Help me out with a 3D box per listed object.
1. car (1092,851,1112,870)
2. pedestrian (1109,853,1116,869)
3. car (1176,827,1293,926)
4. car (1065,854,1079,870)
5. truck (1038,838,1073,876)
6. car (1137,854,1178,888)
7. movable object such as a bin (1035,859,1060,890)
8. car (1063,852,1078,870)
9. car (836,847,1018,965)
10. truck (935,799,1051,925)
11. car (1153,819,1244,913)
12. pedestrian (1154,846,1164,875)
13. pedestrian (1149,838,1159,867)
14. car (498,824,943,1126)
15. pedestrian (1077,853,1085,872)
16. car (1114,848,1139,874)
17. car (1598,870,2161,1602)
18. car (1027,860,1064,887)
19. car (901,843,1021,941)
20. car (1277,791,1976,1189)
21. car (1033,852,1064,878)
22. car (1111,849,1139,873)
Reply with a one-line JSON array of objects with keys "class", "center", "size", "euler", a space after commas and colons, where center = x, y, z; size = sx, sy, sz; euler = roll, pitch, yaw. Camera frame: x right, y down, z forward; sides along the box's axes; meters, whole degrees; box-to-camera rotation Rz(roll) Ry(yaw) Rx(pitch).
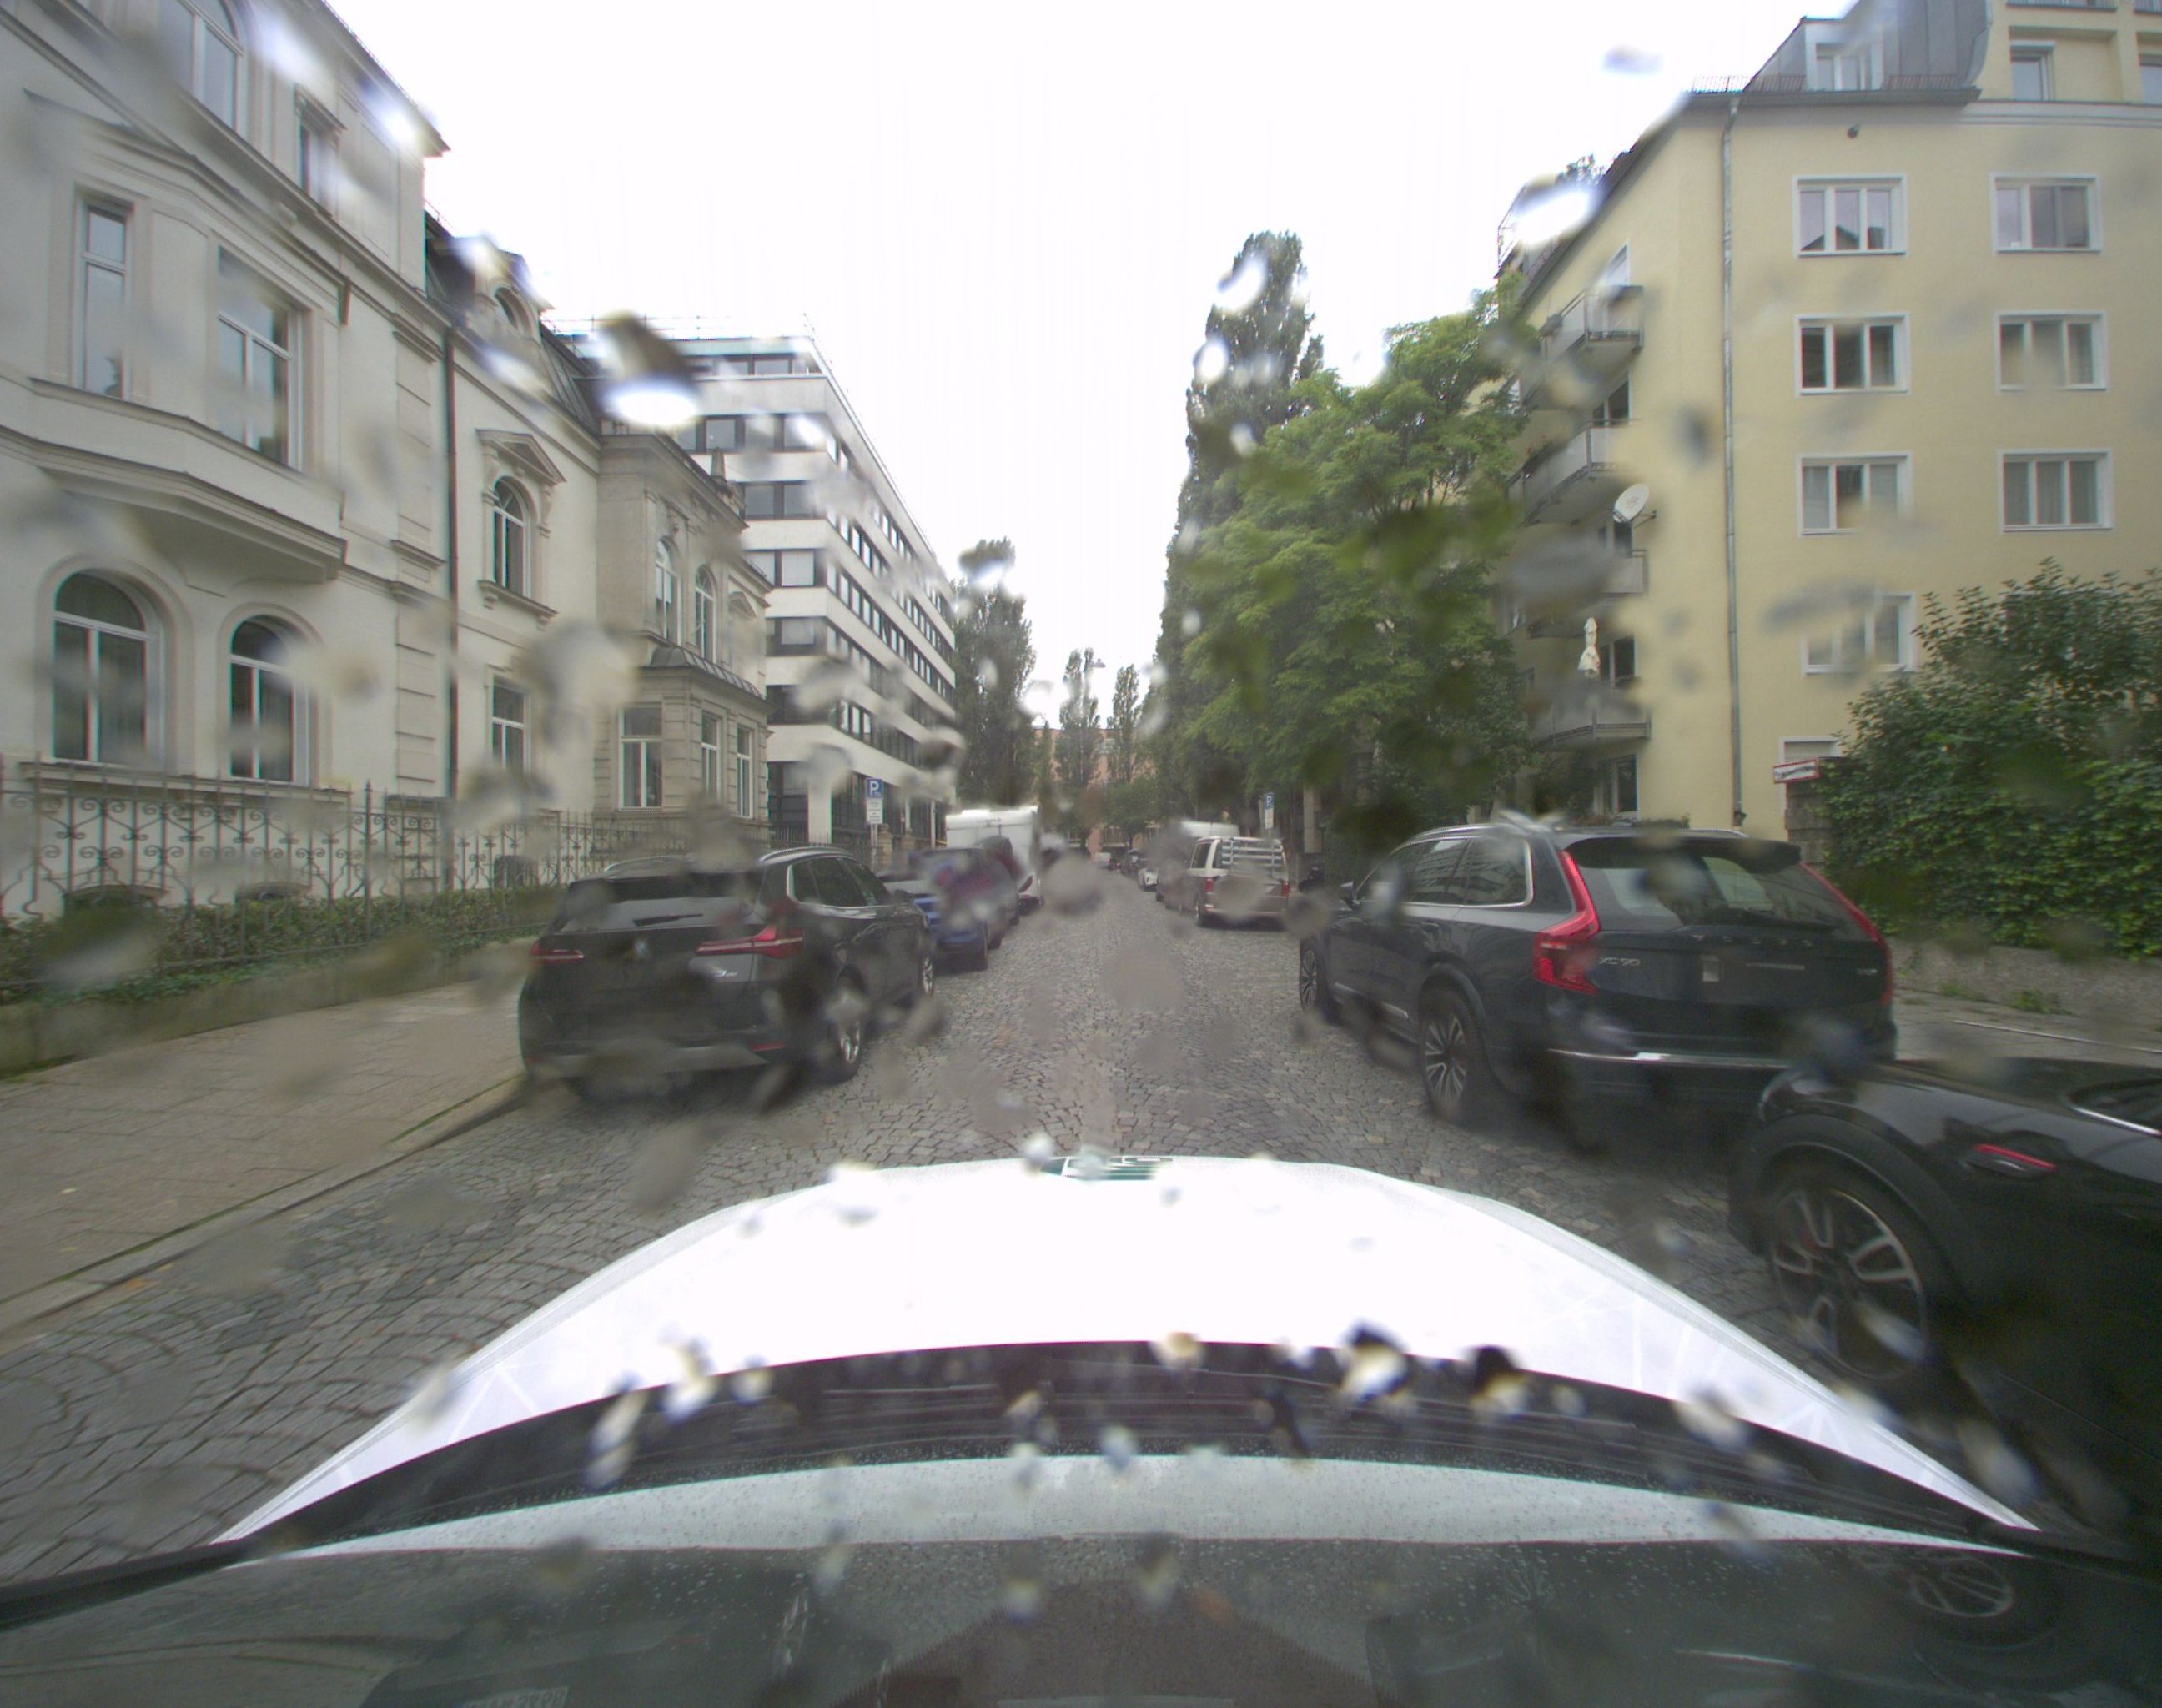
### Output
[{"class": "car", "center": [2.222, 0.725, 85.502], "size": [1.988, 1.936, 4.002], "euler": [-1, -1, 2]}, {"class": "pedestrian", "center": [3.138, 0.711, 81.951], "size": [0.684, 1.687, 0.501], "euler": [0, -1, 4]}, {"class": "car", "center": [3.412, 0.472, 19.019], "size": [1.794, 1.949, 4.860], "euler": [2, 0, 0]}, {"class": "car", "center": [-0.858, 0.758, 77.857], "size": [1.272, 1.541, 3.119], "euler": [0, -1, 1]}, {"class": "truck", "center": [-1.596, 0.189, 52.504], "size": [1.986, 2.347, 4.068], "euler": [0, -1, 1]}, {"class": "car", "center": [3.472, 0.747, 37.305], "size": [1.594, 1.486, 3.479], "euler": [0, -1, 0]}, {"class": "movable object such as a bin", "center": [-1.525, 0.925, 37.128], "size": [1.060, 1.363, 1.290], "euler": [0, -1, 1]}, {"class": "car", "center": [-0.933, 0.631, 73.046], "size": [1.286, 1.540, 3.119], "euler": [0, -1, 1]}, {"class": "car", "center": [-2.086, 0.666, 12.231], "size": [1.934, 1.459, 4.057], "euler": [0, -1, 0]}, {"class": "truck", "center": [-2.311, 0.180, 23.440], "size": [2.500, 3.031, 6.384], "euler": [-3, 0, 0]}, {"class": "car", "center": [3.414, 0.306, 24.737], "size": [1.889, 2.426, 5.611], "euler": [3, 0, 0]}, {"class": "pedestrian", "center": [5.909, 0.497, 61.428], "size": [0.709, 2.191, 0.813], "euler": [0, -1, 2]}, {"class": "pedestrian", "center": [6.404, -0.131, 71.443], "size": [0.709, 2.425, 0.814], "euler": [-3, 1, 2]}, {"class": "car", "center": [-2.435, 0.706, 6.870], "size": [1.768, 1.718, 4.390], "euler": [0, -1, 0]}, {"class": "pedestrian", "center": [0.028, 0.822, 81.579], "size": [0.722, 1.910, 0.641], "euler": [0, -1, 2]}, {"class": "car", "center": [3.550, 0.558, 63.858], "size": [1.860, 1.961, 4.002], "euler": [-1, -1, 2]}, {"class": "car", "center": [3.029, 0.796, 1.491], "size": [1.677, 1.453, 3.966], "euler": [1, 0, 0]}, {"class": "car", "center": [-1.762, 0.963, 41.161], "size": [1.656, 1.329, 3.548], "euler": [0, -1, 1]}, {"class": "car", "center": [-2.358, 0.692, 17.109], "size": [1.888, 1.751, 4.166], "euler": [-2, 0, -1]}, {"class": "car", "center": [3.028, 0.623, 6.110], "size": [1.956, 1.759, 4.954], "euler": [0, -1, 0]}, {"class": "car", "center": [-1.884, 0.639, 48.331], "size": [1.656, 1.455, 3.548], "euler": [0, -1, 1]}, {"class": "car", "center": [2.989, 0.484, 55.843], "size": [1.860, 1.604, 3.274], "euler": [-1, -1, 2]}]
